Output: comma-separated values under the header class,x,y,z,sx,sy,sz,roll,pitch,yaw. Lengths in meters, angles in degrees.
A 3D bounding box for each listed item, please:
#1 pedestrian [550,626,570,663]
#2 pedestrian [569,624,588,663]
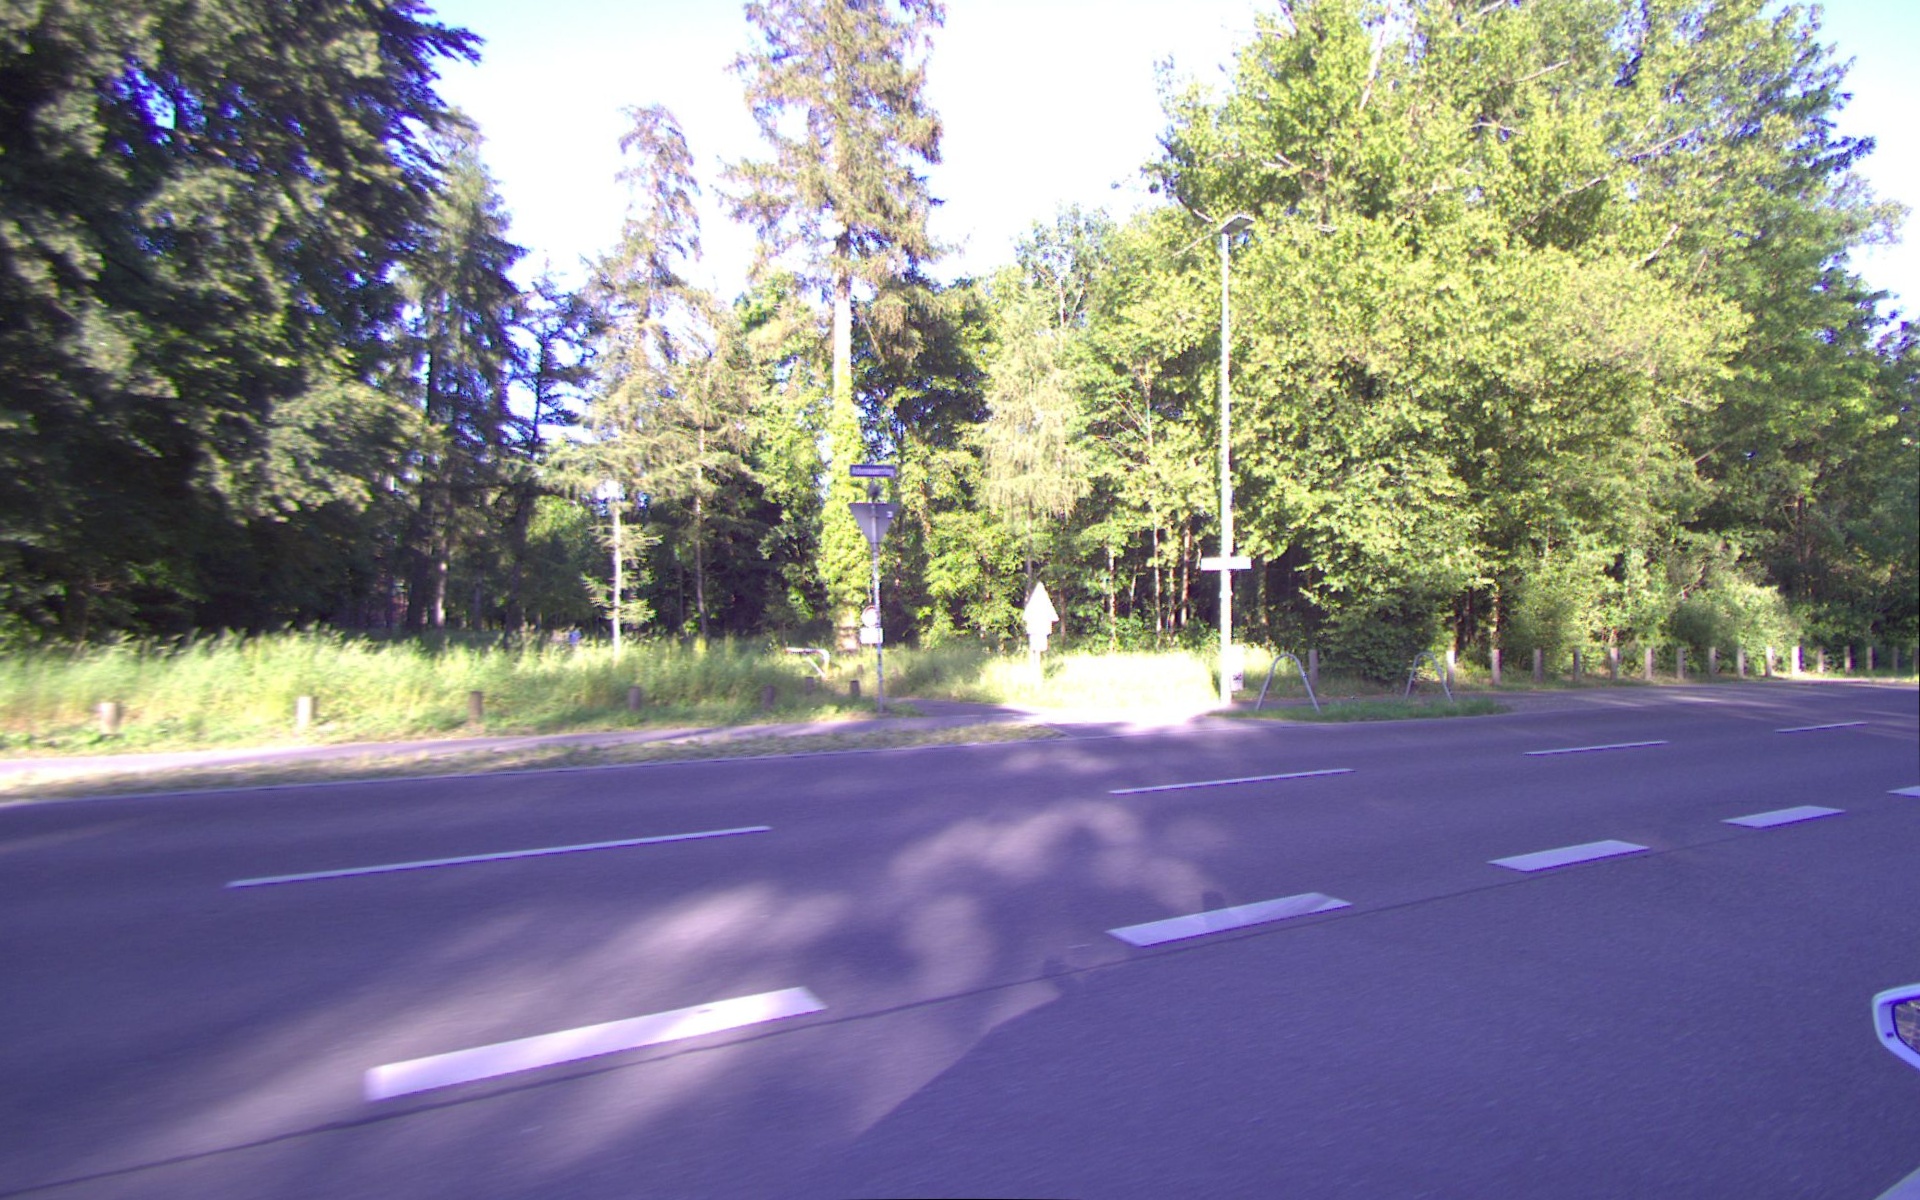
class,x,y,z,sx,sy,sz,roll,pitch,yaw
pedestrian,-17.759,1.972,44.595,0.707,1.632,0.541,1,-1,-30
pedestrian,-17.080,1.945,44.958,0.707,1.704,0.541,1,-1,-30
